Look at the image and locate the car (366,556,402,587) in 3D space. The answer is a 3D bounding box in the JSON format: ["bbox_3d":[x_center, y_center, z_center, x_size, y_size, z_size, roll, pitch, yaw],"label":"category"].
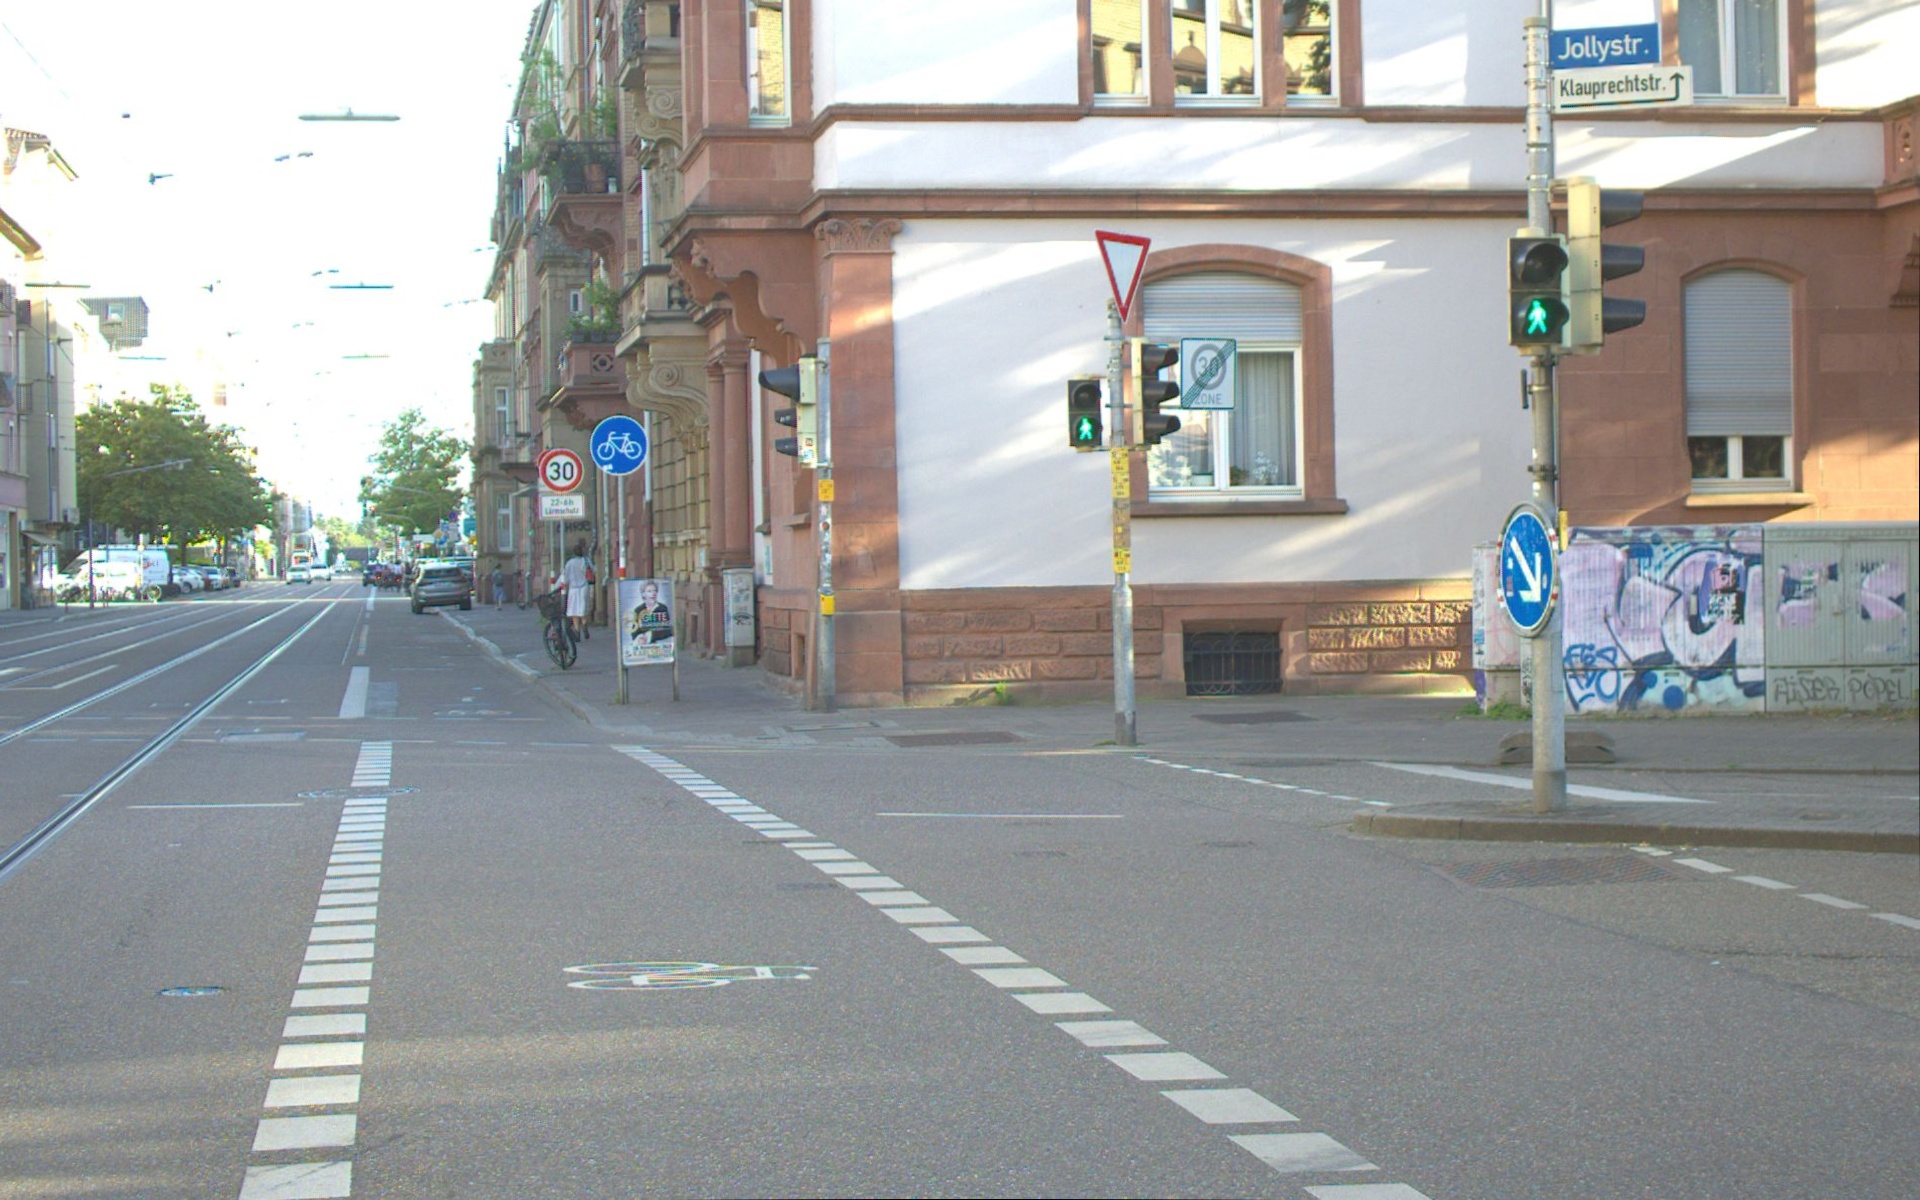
[{"bbox_3d":[-33.260,-1.649,198.545,1.993,1.722,4.001,0,0,-10],"label":"car"}]

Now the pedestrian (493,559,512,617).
[{"bbox_3d":[-14.307,-0.380,107.569,0.544,1.774,0.749,-1,1,-8],"label":"pedestrian"}]

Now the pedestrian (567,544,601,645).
[{"bbox_3d":[-6.652,-0.093,60.823,0.544,1.774,0.504,-1,1,-8],"label":"pedestrian"}]

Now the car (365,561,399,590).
[{"bbox_3d":[-34.652,-1.482,206.118,1.993,1.722,4.001,0,0,-10],"label":"car"}]

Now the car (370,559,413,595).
[{"bbox_3d":[-27.874,-1.106,168.503,1.993,1.722,4.001,0,0,-10],"label":"car"}]

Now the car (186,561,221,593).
[{"bbox_3d":[-49.071,-1.501,223.105,1.993,2.007,4.001,-1,1,-10],"label":"car"}]

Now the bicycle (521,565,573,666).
[{"bbox_3d":[-5.564,0.190,46.329,0.653,1.319,2.177,-1,1,-7],"label":"bicycle"}]

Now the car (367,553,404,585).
[{"bbox_3d":[-32.101,-1.727,192.123,1.993,1.722,4.001,0,0,-10],"label":"car"}]

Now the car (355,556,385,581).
[{"bbox_3d":[-40.185,-2.135,234.127,1.993,1.722,4.001,0,0,-10],"label":"car"}]

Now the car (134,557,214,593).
[{"bbox_3d":[-45.027,-1.444,196.855,3.987,2.007,2.000,-1,1,-34],"label":"car"}]

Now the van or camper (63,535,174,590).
[{"bbox_3d":[-39.604,-1.761,161.876,4.636,2.554,1.999,-1,0,-40],"label":"van or camper"}]

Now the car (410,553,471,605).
[{"bbox_3d":[-17.313,-0.710,114.698,1.949,1.678,4.001,-1,1,-8],"label":"car"}]
